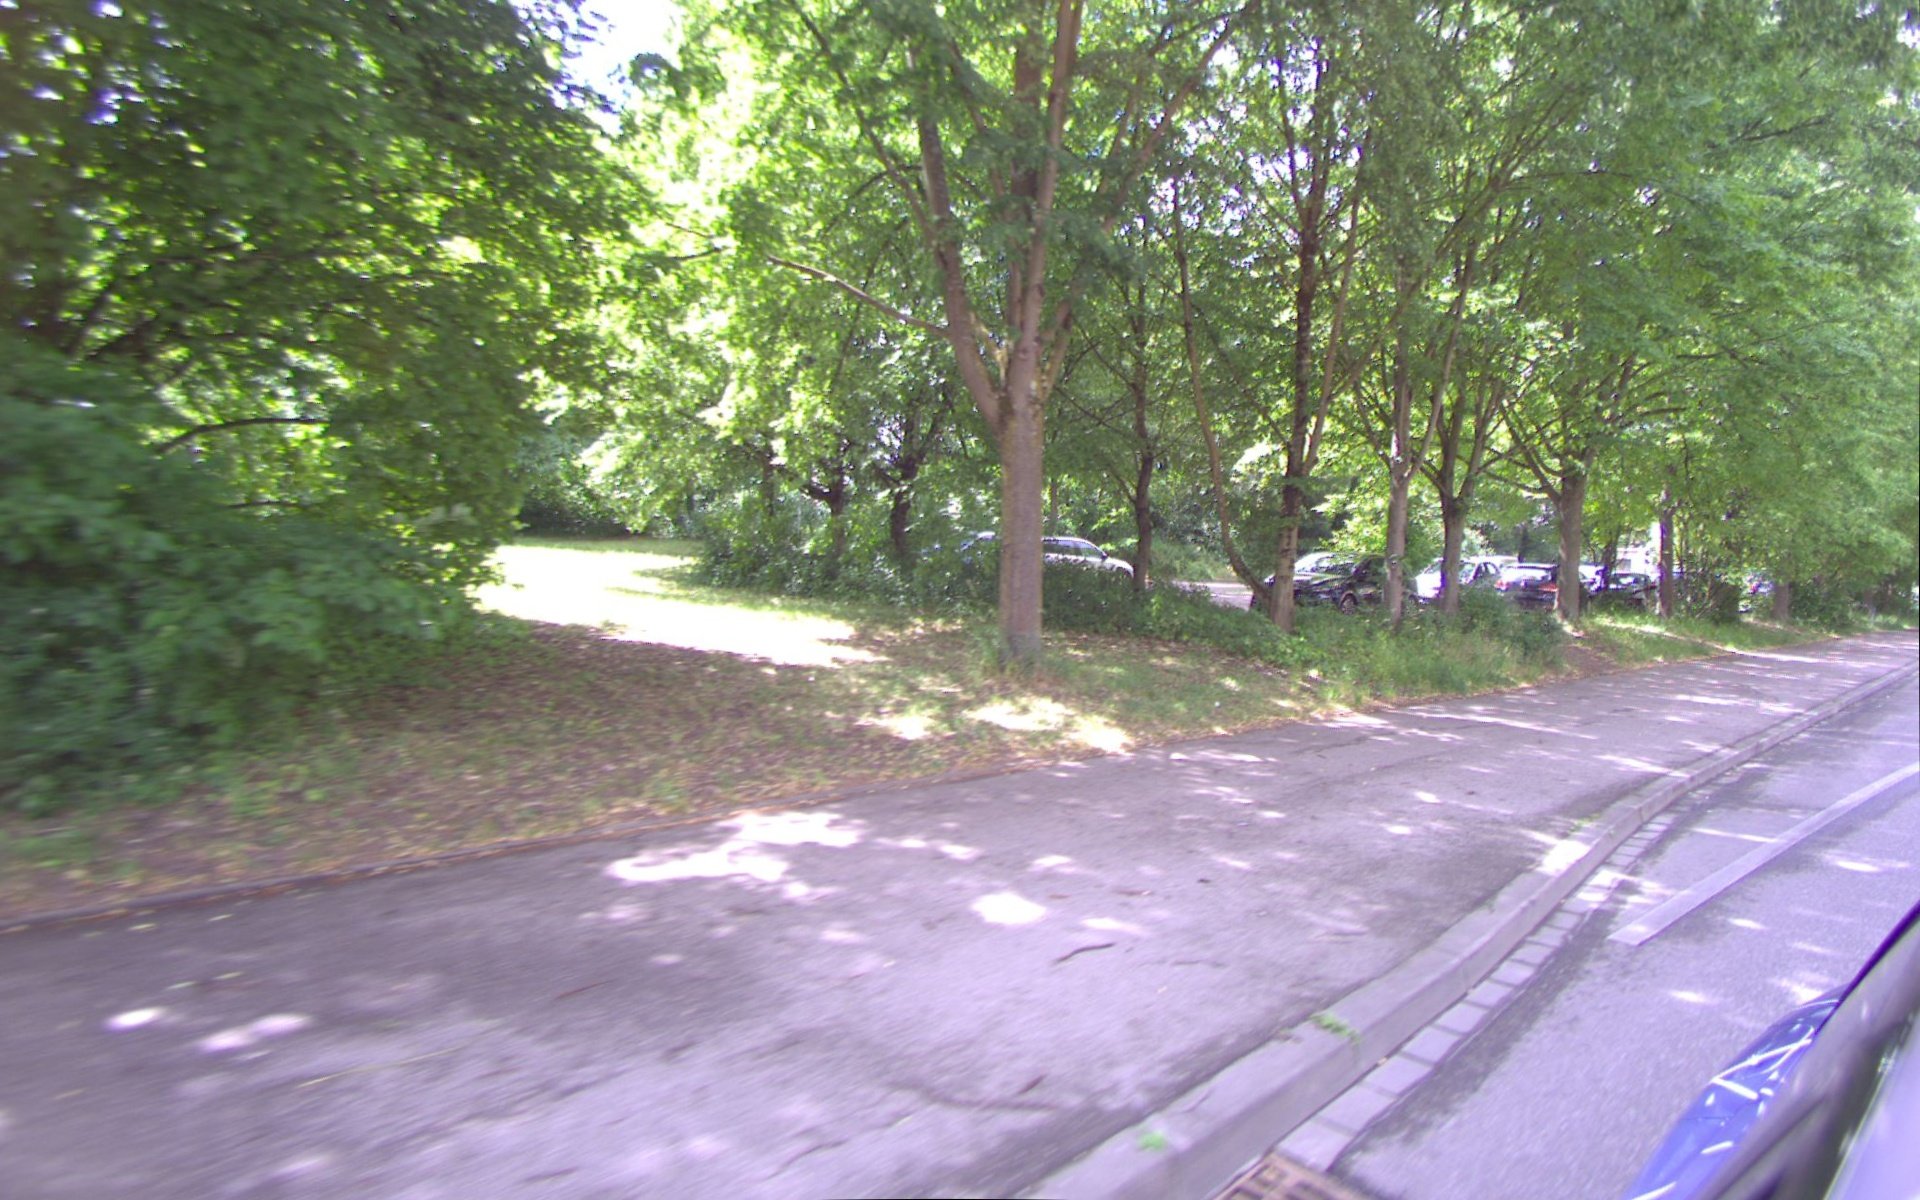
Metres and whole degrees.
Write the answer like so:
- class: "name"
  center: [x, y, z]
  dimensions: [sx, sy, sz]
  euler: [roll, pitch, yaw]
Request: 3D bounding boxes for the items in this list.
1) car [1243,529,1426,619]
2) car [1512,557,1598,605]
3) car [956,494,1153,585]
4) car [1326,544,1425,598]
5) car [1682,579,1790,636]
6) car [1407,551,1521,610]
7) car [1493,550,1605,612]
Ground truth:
- class: "car"
  center: [7.195, -0.484, 19.315]
  dimensions: [3.612, 1.561, 1.755]
  euler: [-1, 1, -41]
- class: "car"
  center: [20.444, -0.653, 34.710]
  dimensions: [3.566, 1.561, 1.653]
  euler: [-1, 1, -44]
- class: "car"
  center: [1.824, -1.066, 19.086]
  dimensions: [3.560, 1.561, 1.656]
  euler: [0, 1, -38]
- class: "car"
  center: [12.826, -0.863, 31.141]
  dimensions: [1.652, 1.561, 3.619]
  euler: [1, 1, 43]
- class: "car"
  center: [22.970, 0.178, 29.919]
  dimensions: [3.608, 1.561, 1.657]
  euler: [0, 1, -37]
- class: "car"
  center: [14.737, -0.583, 29.523]
  dimensions: [3.612, 1.560, 1.656]
  euler: [-1, 4, -41]
- class: "car"
  center: [16.159, -0.512, 27.684]
  dimensions: [1.751, 1.561, 4.160]
  euler: [1, 1, 43]
